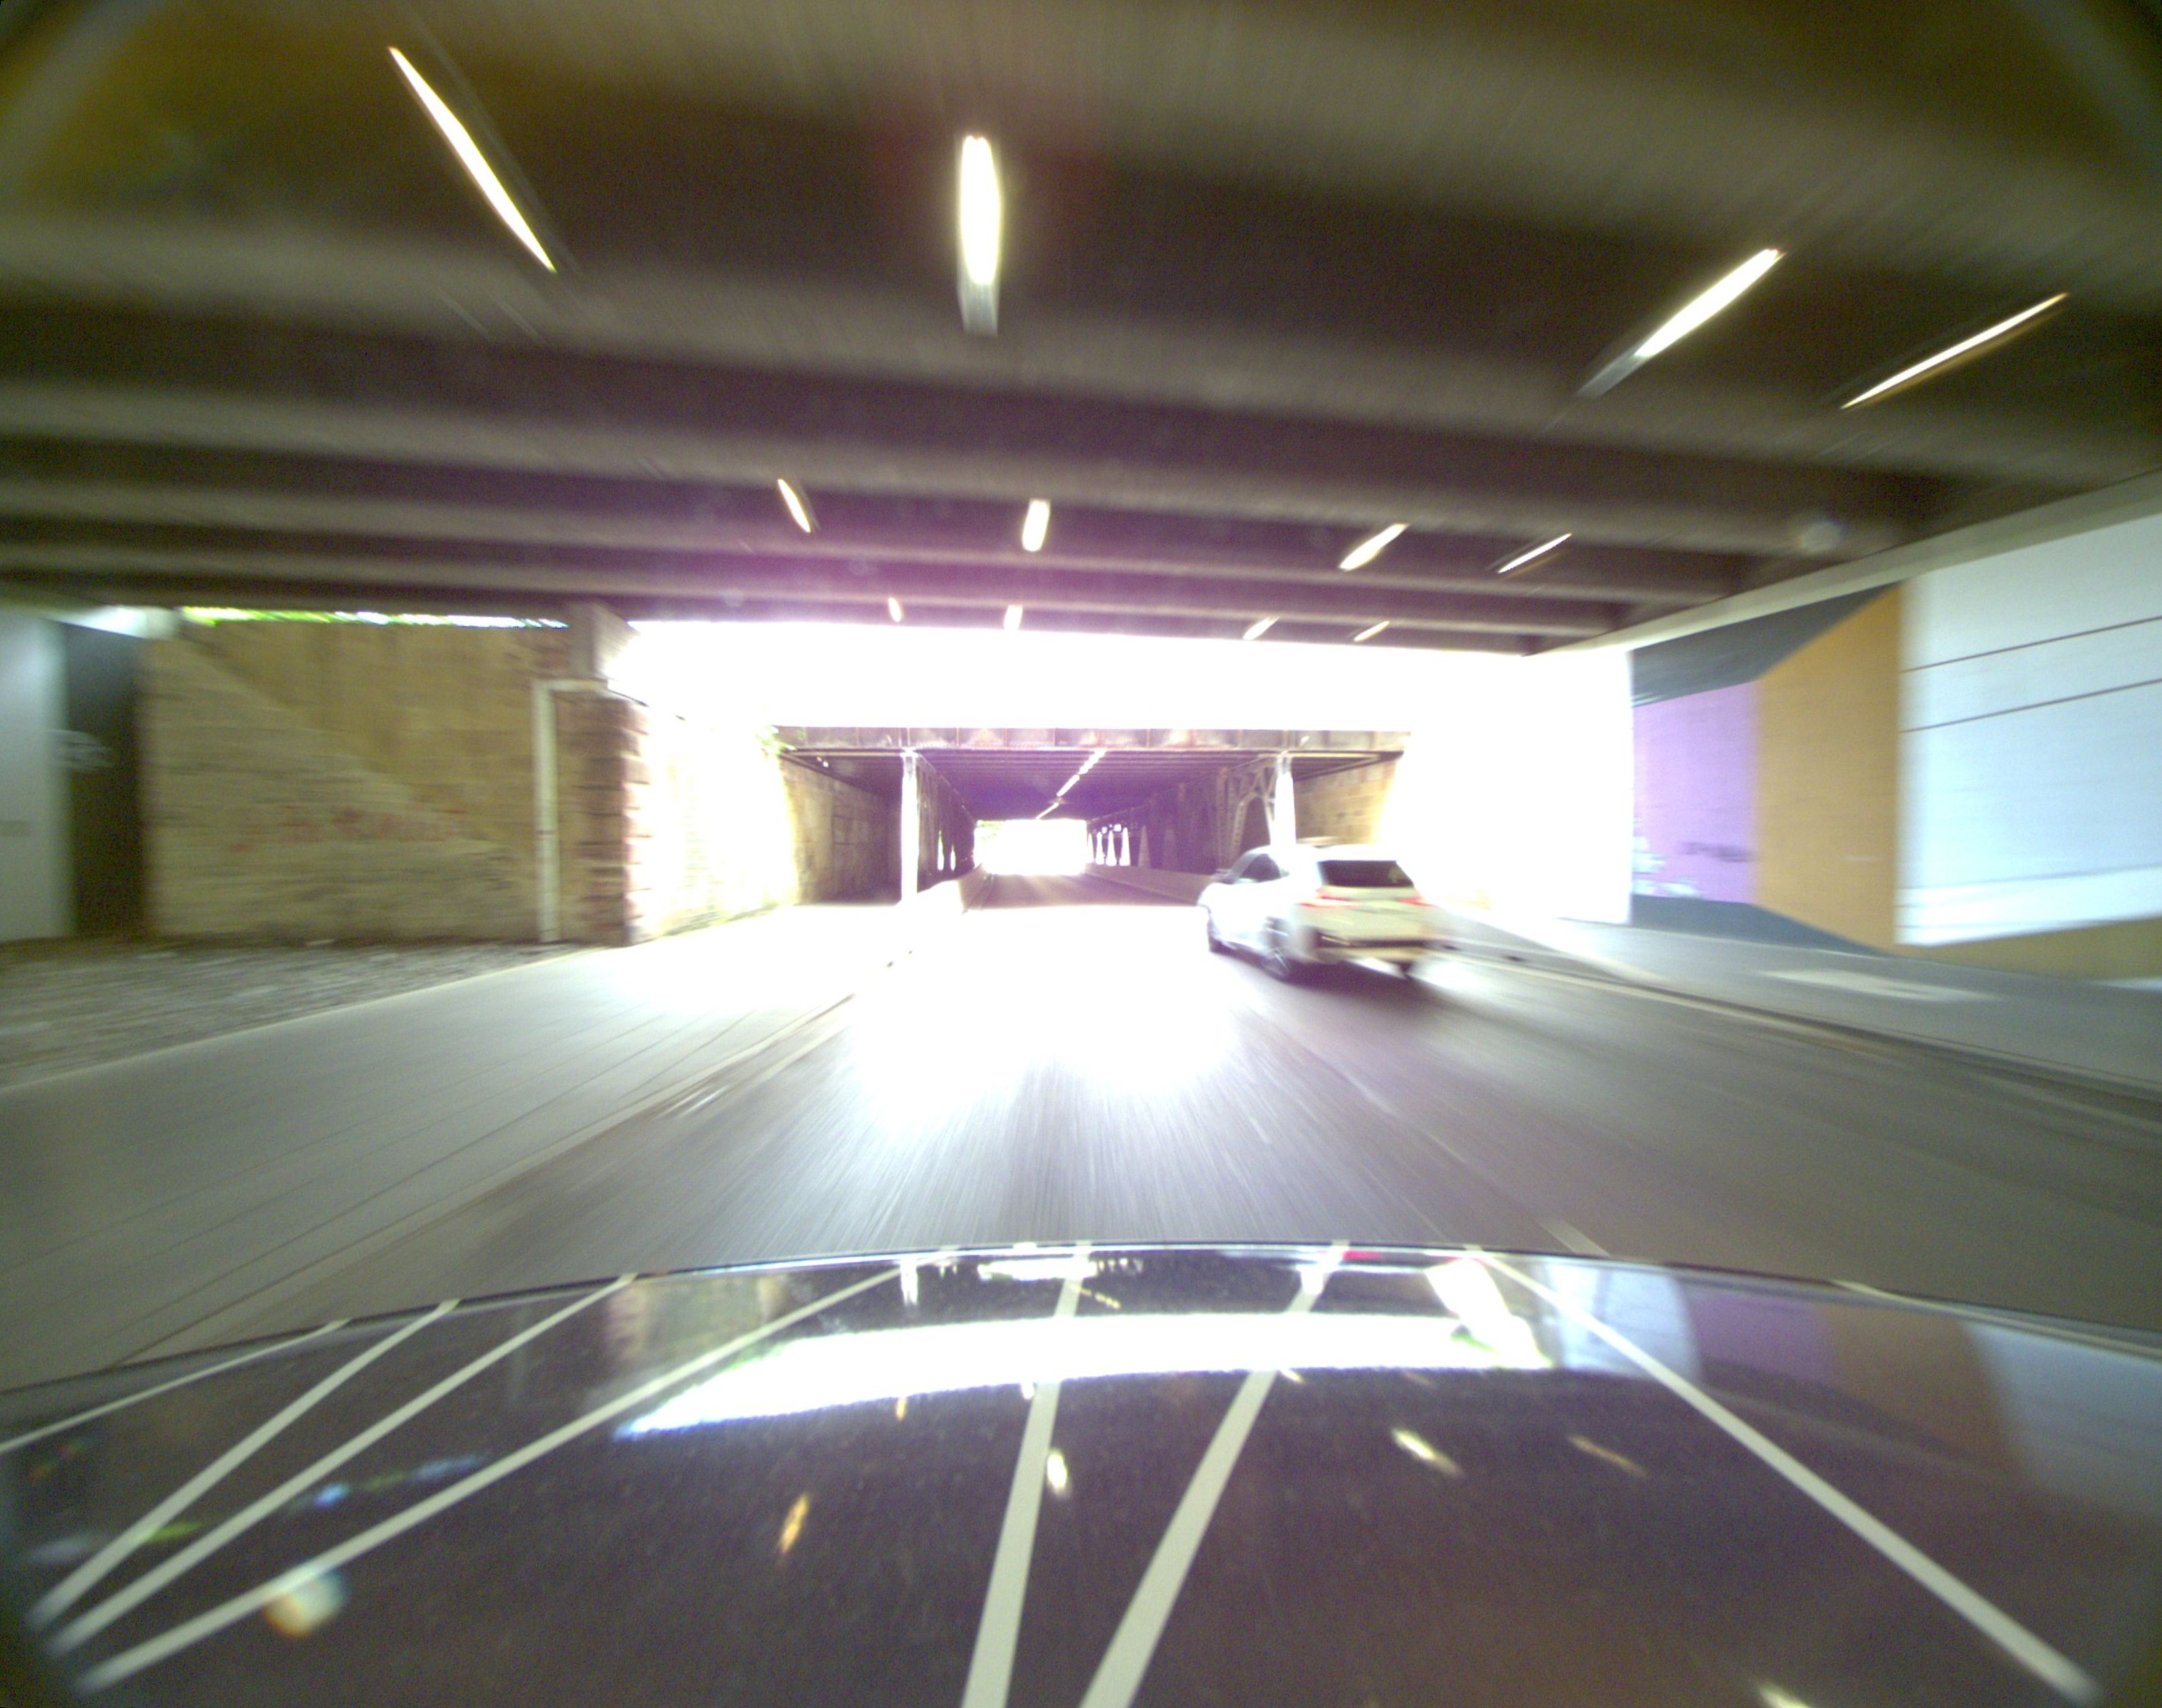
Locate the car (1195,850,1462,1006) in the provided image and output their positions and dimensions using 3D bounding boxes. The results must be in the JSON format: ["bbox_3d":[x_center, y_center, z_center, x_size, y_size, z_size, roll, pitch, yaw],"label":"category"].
[{"bbox_3d":[2.972,0.775,10.199,1.831,1.644,4.211,0,0,-6],"label":"car"}]
